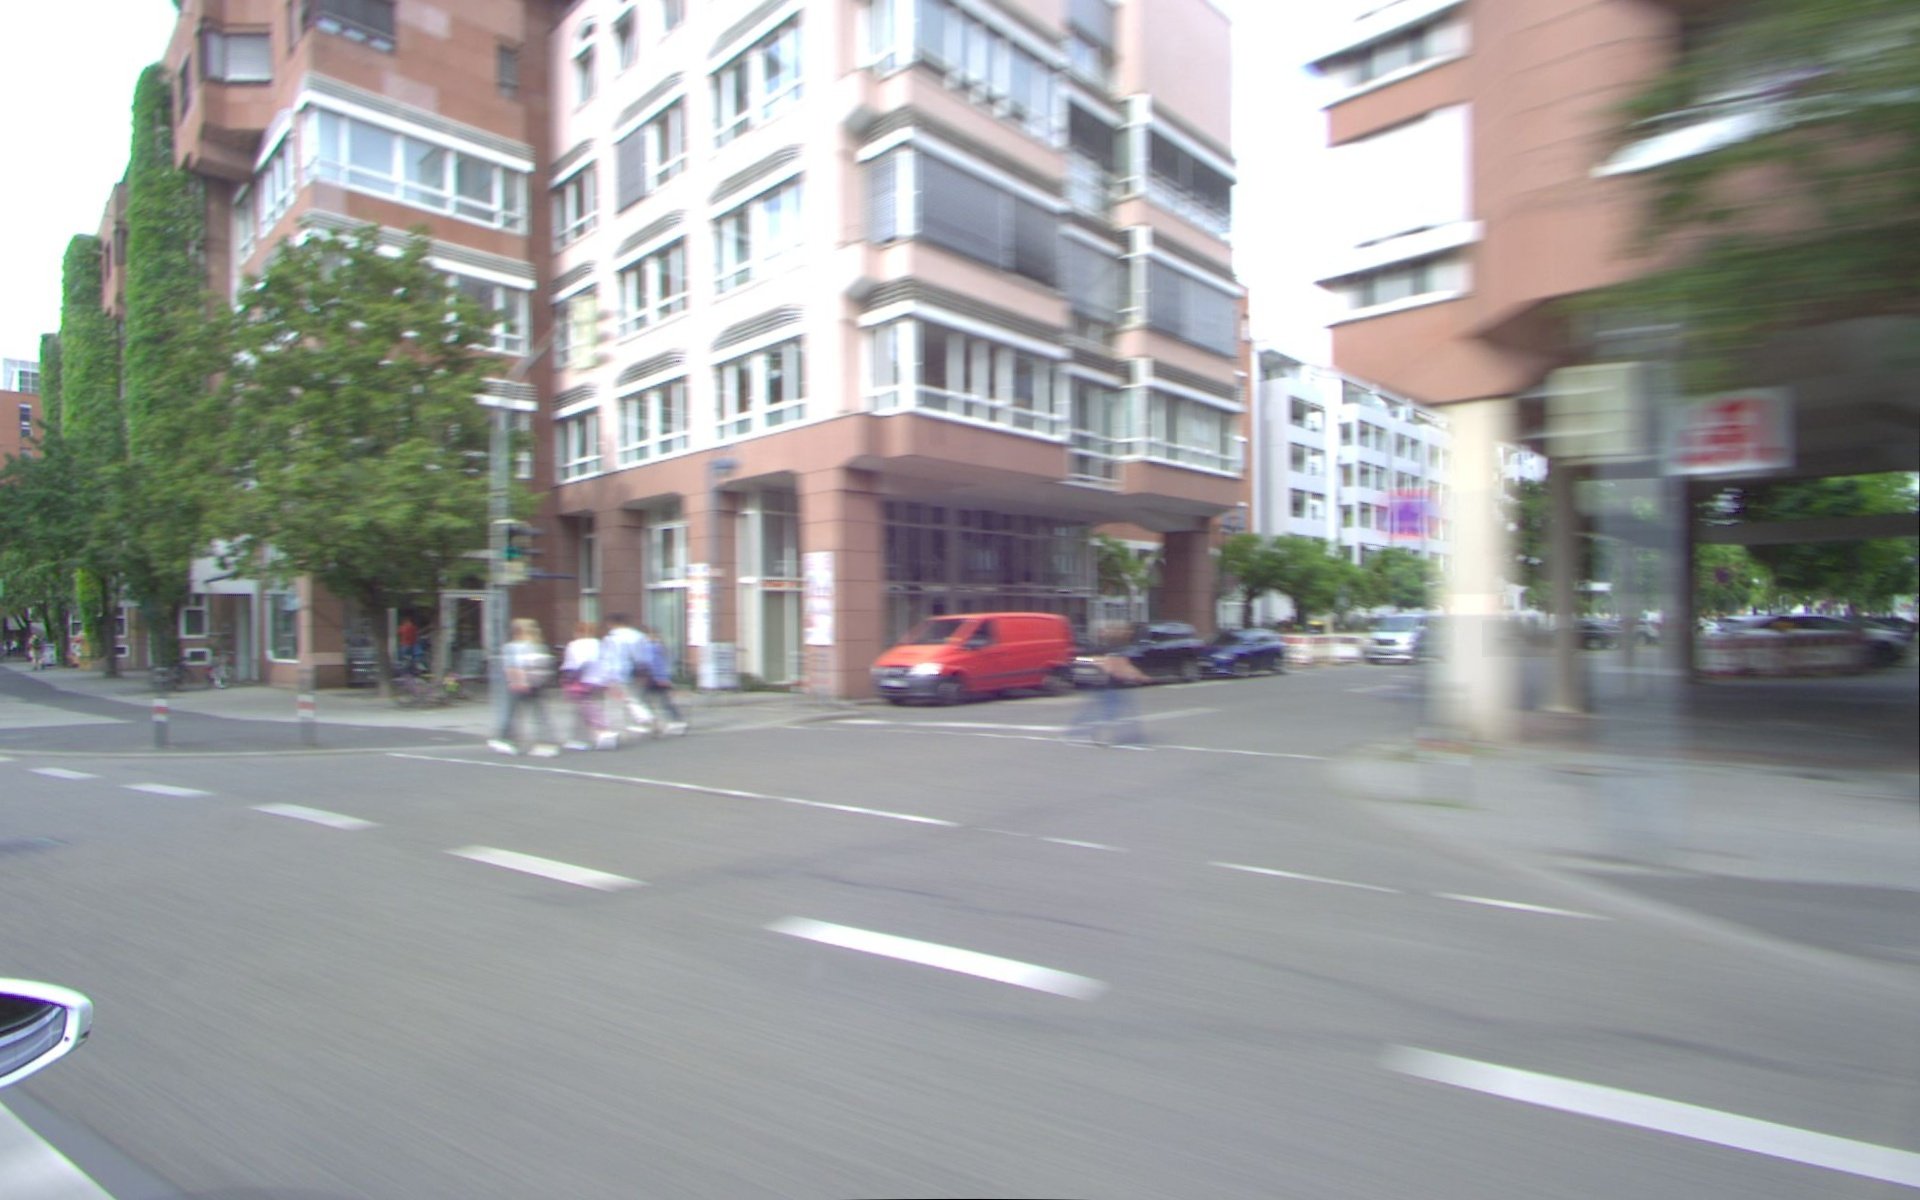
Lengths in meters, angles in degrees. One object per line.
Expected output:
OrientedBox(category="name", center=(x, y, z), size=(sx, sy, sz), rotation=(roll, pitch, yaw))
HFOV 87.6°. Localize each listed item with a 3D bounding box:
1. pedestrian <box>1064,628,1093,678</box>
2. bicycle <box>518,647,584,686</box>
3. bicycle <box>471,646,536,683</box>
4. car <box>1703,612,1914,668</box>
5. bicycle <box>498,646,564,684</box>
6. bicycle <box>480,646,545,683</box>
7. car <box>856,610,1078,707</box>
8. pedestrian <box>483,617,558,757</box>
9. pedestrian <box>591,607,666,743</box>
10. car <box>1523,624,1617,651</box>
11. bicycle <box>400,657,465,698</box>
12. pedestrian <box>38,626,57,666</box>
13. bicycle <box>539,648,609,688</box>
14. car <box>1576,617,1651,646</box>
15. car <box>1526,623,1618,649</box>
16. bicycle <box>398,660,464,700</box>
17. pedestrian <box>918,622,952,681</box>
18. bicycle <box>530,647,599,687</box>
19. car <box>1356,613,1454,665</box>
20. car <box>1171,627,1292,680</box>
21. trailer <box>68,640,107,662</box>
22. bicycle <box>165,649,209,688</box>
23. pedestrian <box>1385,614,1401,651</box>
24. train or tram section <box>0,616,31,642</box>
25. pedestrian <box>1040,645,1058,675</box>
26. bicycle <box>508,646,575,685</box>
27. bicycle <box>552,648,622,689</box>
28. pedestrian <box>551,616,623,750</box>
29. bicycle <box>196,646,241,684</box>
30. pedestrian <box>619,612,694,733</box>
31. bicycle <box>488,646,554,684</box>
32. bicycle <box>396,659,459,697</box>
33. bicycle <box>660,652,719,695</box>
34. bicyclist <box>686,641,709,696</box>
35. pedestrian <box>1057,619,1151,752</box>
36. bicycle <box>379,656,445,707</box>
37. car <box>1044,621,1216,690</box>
OrientedBox(category="pedestrian", center=(3.493, 1.551, 29.491), size=(0.612, 1.432, 0.646), rotation=(0, -1, 43))
OrientedBox(category="bicycle", center=(-11.423, 1.831, 27.992), size=(0.419, 1.021, 1.722), rotation=(-1, -1, 40))
OrientedBox(category="bicycle", center=(-13.432, 1.874, 29.474), size=(0.466, 1.021, 1.722), rotation=(-1, -1, 40))
OrientedBox(category="car", center=(25.068, 1.177, 29.786), size=(4.382, 1.577, 1.845), rotation=(-1, -1, 20))
OrientedBox(category="bicycle", center=(-12.231, 1.848, 28.590), size=(0.466, 1.021, 1.722), rotation=(-1, -1, 40))
OrientedBox(category="bicycle", center=(-13.039, 1.870, 29.190), size=(0.425, 1.021, 1.722), rotation=(-1, -1, 40))
OrientedBox(category="car", center=(0.258, 1.201, 21.539), size=(4.797, 1.848, 1.981), rotation=(1, -3, -45))
OrientedBox(category="pedestrian", center=(-5.335, 1.029, 12.150), size=(0.840, 1.637, 0.515), rotation=(0, 0, 38))
OrientedBox(category="pedestrian", center=(-4.674, 1.030, 14.122), size=(0.841, 1.852, 0.673), rotation=(0, 0, 40))
OrientedBox(category="car", center=(33.265, 2.019, 54.652), size=(4.266, 1.423, 1.824), rotation=(-1, -1, 37))
OrientedBox(category="bicycle", center=(-12.669, 1.852, 24.063), size=(1.286, 0.880, 0.451), rotation=(-3, 1, -35))
OrientedBox(category="pedestrian", center=(-43.936, 2.206, 48.210), size=(0.774, 1.883, 0.643), rotation=(-1, -1, 43))
OrientedBox(category="bicycle", center=(-10.409, 1.815, 27.040), size=(0.540, 1.021, 1.722), rotation=(-1, -1, 40))
OrientedBox(category="car", center=(41.874, 2.003, 64.182), size=(3.950, 1.790, 1.716), rotation=(-1, -1, 38))
OrientedBox(category="car", center=(34.730, 2.041, 56.861), size=(4.267, 1.423, 1.824), rotation=(-1, -1, 38))
OrientedBox(category="bicycle", center=(-12.199, 1.835, 23.096), size=(1.288, 0.849, 0.450), rotation=(1, -1, -40))
OrientedBox(category="pedestrian", center=(-0.688, 1.409, 27.709), size=(0.667, 1.600, 0.646), rotation=(0, 0, 43))
OrientedBox(category="bicycle", center=(-10.832, 1.822, 27.448), size=(0.540, 1.021, 1.722), rotation=(-1, -1, 40))
OrientedBox(category="car", center=(17.451, 1.478, 39.162), size=(4.641, 1.925, 1.967), rotation=(1, -1, -45))
OrientedBox(category="car", center=(8.070, 1.551, 29.636), size=(3.943, 1.423, 1.709), rotation=(1, -3, -45))
OrientedBox(category="trailer", center=(-44.123, 2.585, 50.645), size=(0.978, 1.072, 1.605), rotation=(0, -1, -21))
OrientedBox(category="bicycle", center=(-21.482, 1.877, 27.819), size=(1.714, 1.021, 0.614), rotation=(-1, -1, 39))
OrientedBox(category="pedestrian", center=(21.255, 1.603, 49.106), size=(0.553, 1.816, 0.559), rotation=(-1, -1, 44))
OrientedBox(category="train or tram section", center=(-123.763, 3.748, 127.177), size=(2.355, 3.296, 8.344), rotation=(-1, -1, 20))
OrientedBox(category="pedestrian", center=(2.731, 1.847, 30.830), size=(0.360, 0.885, 0.423), rotation=(0, -1, 43))
OrientedBox(category="bicycle", center=(-11.811, 1.840, 28.281), size=(0.473, 1.021, 1.722), rotation=(-1, -1, 40))
OrientedBox(category="bicycle", center=(-9.919, 1.807, 26.691), size=(0.540, 1.021, 1.722), rotation=(-1, -1, 40))
OrientedBox(category="pedestrian", center=(-4.757, 1.027, 12.753), size=(0.841, 1.637, 0.514), rotation=(0, 0, 40))
OrientedBox(category="bicycle", center=(-21.220, 1.845, 28.643), size=(1.714, 1.021, 0.614), rotation=(-1, -1, 39))
OrientedBox(category="pedestrian", center=(-4.506, 1.047, 14.860), size=(1.010, 1.723, 0.648), rotation=(-1, -1, 41))
OrientedBox(category="bicycle", center=(-12.648, 1.859, 28.883), size=(0.432, 1.021, 1.722), rotation=(-1, -1, 40))
OrientedBox(category="bicycle", center=(-12.542, 1.831, 23.604), size=(1.286, 0.824, 0.441), rotation=(1, -1, -35))
OrientedBox(category="bicycle", center=(-6.264, 1.693, 23.182), size=(1.297, 0.926, 0.474), rotation=(0, -1, -20))
OrientedBox(category="bicyclist", center=(-6.093, 1.584, 23.248), size=(0.489, 1.260, 0.479), rotation=(0, 0, -19))
OrientedBox(category="pedestrian", center=(1.771, 1.018, 12.332), size=(0.936, 1.558, 0.672), rotation=(-1, -1, 41))
OrientedBox(category="bicycle", center=(-11.835, 1.745, 21.609), size=(1.714, 1.021, 0.614), rotation=(-1, -1, 38))
OrientedBox(category="car", center=(4.508, 1.392, 26.074), size=(4.797, 1.610, 1.981), rotation=(1, -3, -45))
